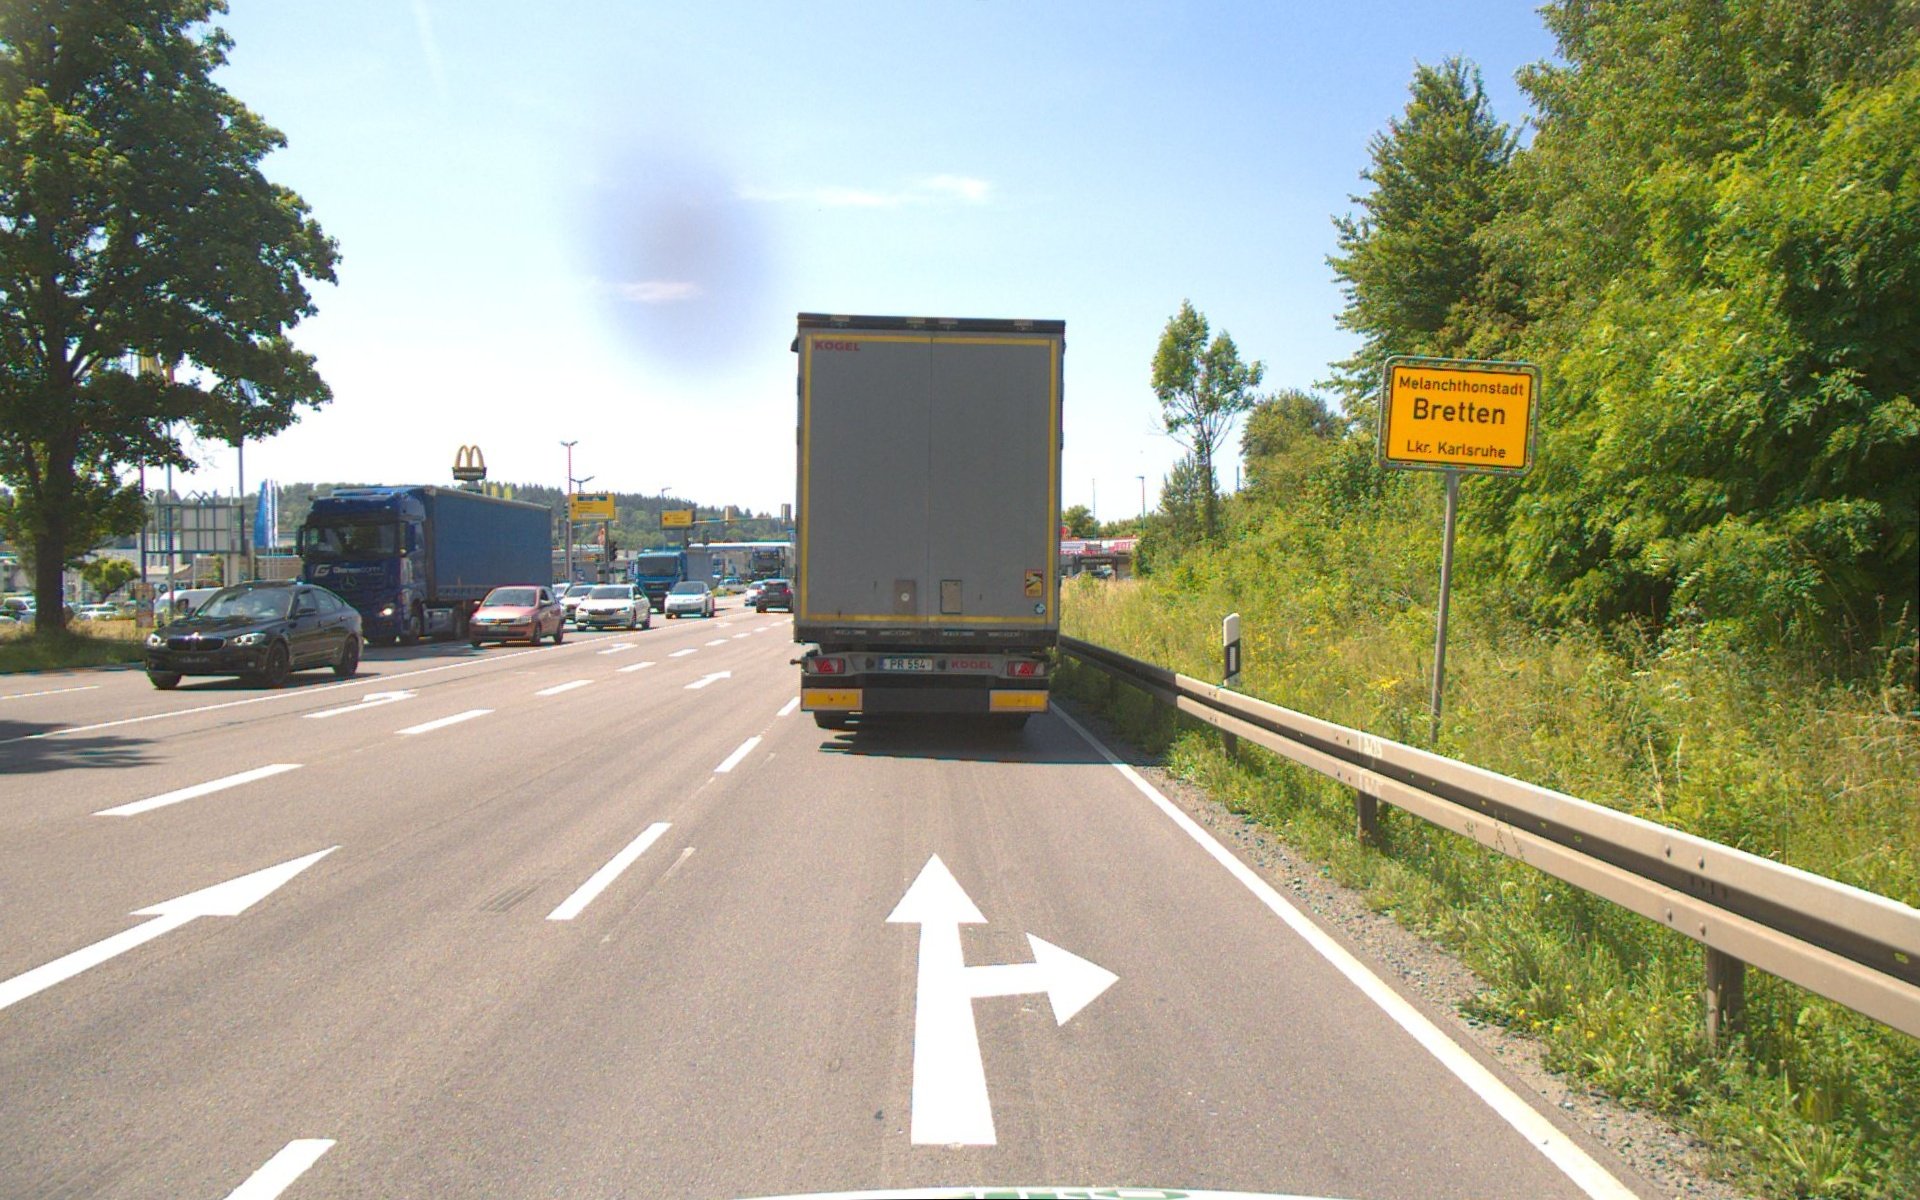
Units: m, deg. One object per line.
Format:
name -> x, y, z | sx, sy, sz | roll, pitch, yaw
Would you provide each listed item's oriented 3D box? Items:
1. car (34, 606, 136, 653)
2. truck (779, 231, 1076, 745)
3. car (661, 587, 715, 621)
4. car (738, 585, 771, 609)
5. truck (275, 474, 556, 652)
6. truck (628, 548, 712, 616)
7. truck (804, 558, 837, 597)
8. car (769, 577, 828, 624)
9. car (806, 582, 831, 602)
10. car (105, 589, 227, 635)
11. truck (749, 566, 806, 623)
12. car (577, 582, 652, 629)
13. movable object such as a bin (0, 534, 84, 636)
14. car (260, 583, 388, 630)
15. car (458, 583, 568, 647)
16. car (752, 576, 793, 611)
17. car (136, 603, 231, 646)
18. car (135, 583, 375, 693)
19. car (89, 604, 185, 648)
car -> -33.230, 1.098, 62.787 | 3.921, 1.680, 1.992 | 0, 0, 37
truck -> -0.593, -0.966, 23.625 | 2.700, 4.720, 16.647 | 1, 0, -2
car -> -11.895, 0.148, 72.600 | 1.725, 1.453, 4.179 | 0, 0, -1
car -> -12.672, -0.210, 102.214 | 1.753, 1.451, 4.260 | 1, 0, -3
truck -> -15.181, -0.935, 48.288 | 2.908, 4.250, 16.571 | -1, 0, -1
truck -> -15.538, -0.929, 89.451 | 2.789, 3.410, 11.478 | 0, 0, -2
truck -> -15.041, -2.371, 179.277 | 2.876, 4.019, 14.230 | -1, 0, -2
car -> -6.066, 0.000, 62.602 | 1.767, 1.699, 4.292 | 1, 0, 0
car -> -11.641, -0.623, 136.125 | 1.705, 1.529, 4.405 | -2, 0, -1
car -> -39.510, 0.558, 82.392 | 1.960, 2.221, 5.173 | 0, 0, 36
truck -> -15.220, -0.551, 139.318 | 3.082, 4.425, 17.539 | -1, 1, -1
car -> -11.172, 0.162, 53.734 | 1.666, 1.439, 4.560 | 0, 0, -3
movable object such as a bin -> -33.215, -0.487, 54.812 | 2.995, 3.356, 6.758 | 0, 1, 39
car -> -28.577, 0.275, 74.389 | 5.150, 2.049, 1.979 | -1, 0, -32
car -> -10.926, 0.346, 40.641 | 1.731, 1.471, 3.774 | -1, 0, -1
car -> -9.289, -0.322, 82.222 | 1.758, 1.655, 4.367 | 0, 0, -3
car -> -31.089, 0.971, 66.195 | 3.921, 1.646, 1.833 | 0, 0, 37
car -> -10.689, 0.539, 25.481 | 1.880, 1.506, 4.684 | -1, 0, -3
car -> -32.227, 0.999, 64.737 | 3.921, 1.646, 1.833 | 0, 0, 37
